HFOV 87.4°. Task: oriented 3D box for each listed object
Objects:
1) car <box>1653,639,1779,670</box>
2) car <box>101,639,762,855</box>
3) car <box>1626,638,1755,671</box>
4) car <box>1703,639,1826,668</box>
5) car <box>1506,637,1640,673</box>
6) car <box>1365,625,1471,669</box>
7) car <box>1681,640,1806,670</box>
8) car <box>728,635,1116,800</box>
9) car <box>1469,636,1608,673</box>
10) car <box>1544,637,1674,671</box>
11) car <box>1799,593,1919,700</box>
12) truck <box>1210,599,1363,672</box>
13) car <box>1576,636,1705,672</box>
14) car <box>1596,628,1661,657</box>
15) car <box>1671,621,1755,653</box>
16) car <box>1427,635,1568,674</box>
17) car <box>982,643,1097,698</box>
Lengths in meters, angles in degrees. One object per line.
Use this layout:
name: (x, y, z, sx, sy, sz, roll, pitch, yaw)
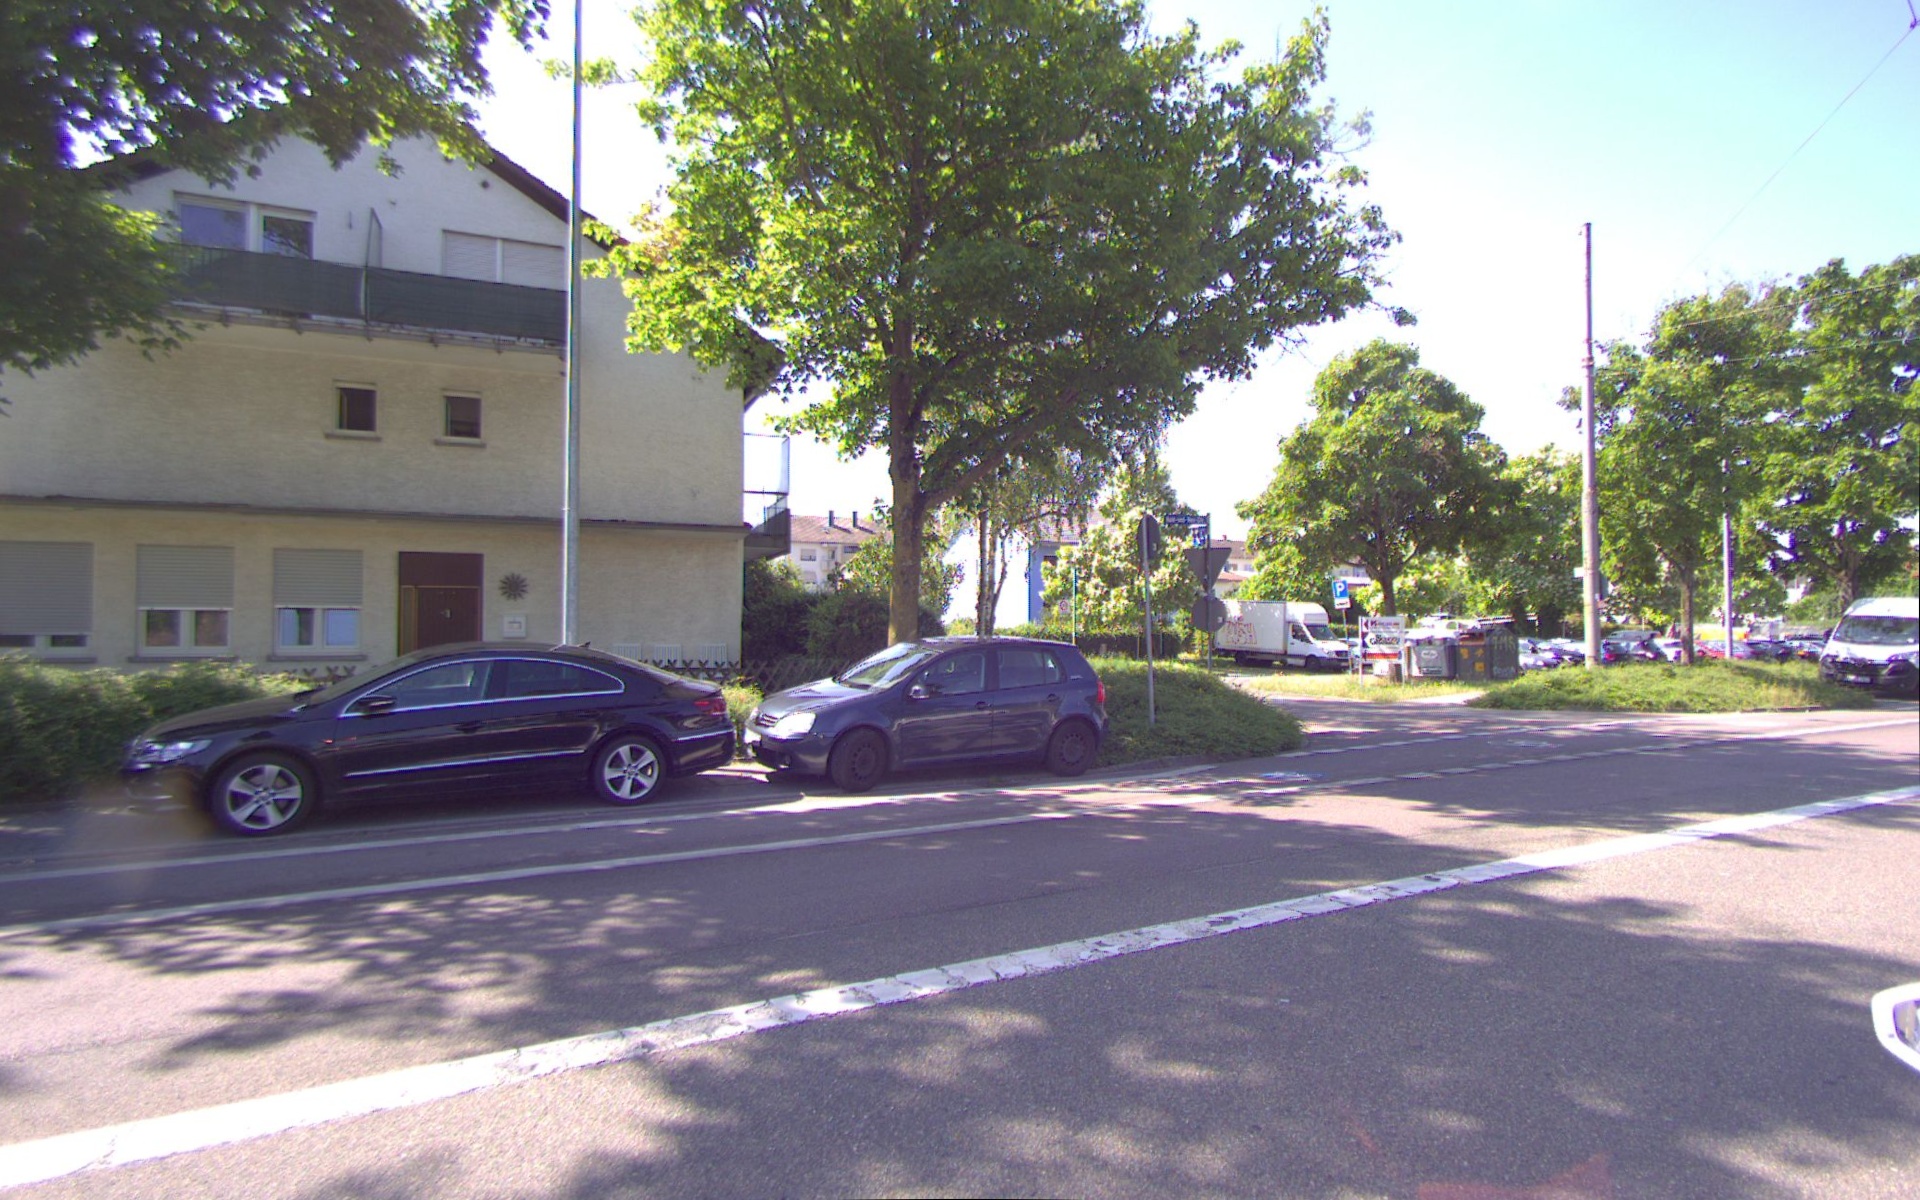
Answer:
car: (32.196, 2.309, 42.885, 1.748, 1.241, 3.973, 1, -2, -27)
car: (-4.299, 1.088, 8.868, 4.727, 1.398, 1.682, 1, 0, -31)
car: (30.006, 2.215, 41.381, 1.748, 1.281, 3.973, 1, -2, -27)
car: (36.248, 2.373, 45.359, 1.748, 1.241, 3.973, 1, -2, -27)
car: (22.766, 2.009, 37.467, 1.748, 1.241, 3.973, 1, -2, -27)
car: (23.840, 2.398, 52.417, 1.980, 2.040, 4.663, 2, 0, -34)
car: (34.304, 2.393, 44.078, 1.748, 1.241, 3.973, 1, -2, -27)
car: (-0.365, 1.165, 11.054, 3.956, 1.470, 1.634, 1, 0, -29)
car: (20.604, 1.917, 35.904, 1.751, 1.241, 3.967, 1, -2, -31)
car: (25.327, 2.081, 39.341, 1.748, 1.241, 3.973, 1, -2, -27)
car: (24.851, 1.149, 26.390, 6.227, 2.534, 2.050, 1, 1, -28)
truck: (15.204, 1.561, 47.375, 2.206, 3.059, 7.103, 1, 1, -31)
car: (27.506, 2.152, 40.735, 1.748, 1.368, 3.973, 1, -2, -27)
car: (45.857, 2.894, 68.974, 1.535, 1.901, 3.406, 1, -2, -31)
car: (51.733, 2.532, 69.086, 1.980, 2.040, 4.228, 2, 0, -35)
car: (18.436, 1.832, 34.629, 1.751, 1.241, 3.967, 1, -2, -31)
car: (2.215, 1.972, 29.075, 1.687, 1.437, 3.979, 1, -2, -23)
